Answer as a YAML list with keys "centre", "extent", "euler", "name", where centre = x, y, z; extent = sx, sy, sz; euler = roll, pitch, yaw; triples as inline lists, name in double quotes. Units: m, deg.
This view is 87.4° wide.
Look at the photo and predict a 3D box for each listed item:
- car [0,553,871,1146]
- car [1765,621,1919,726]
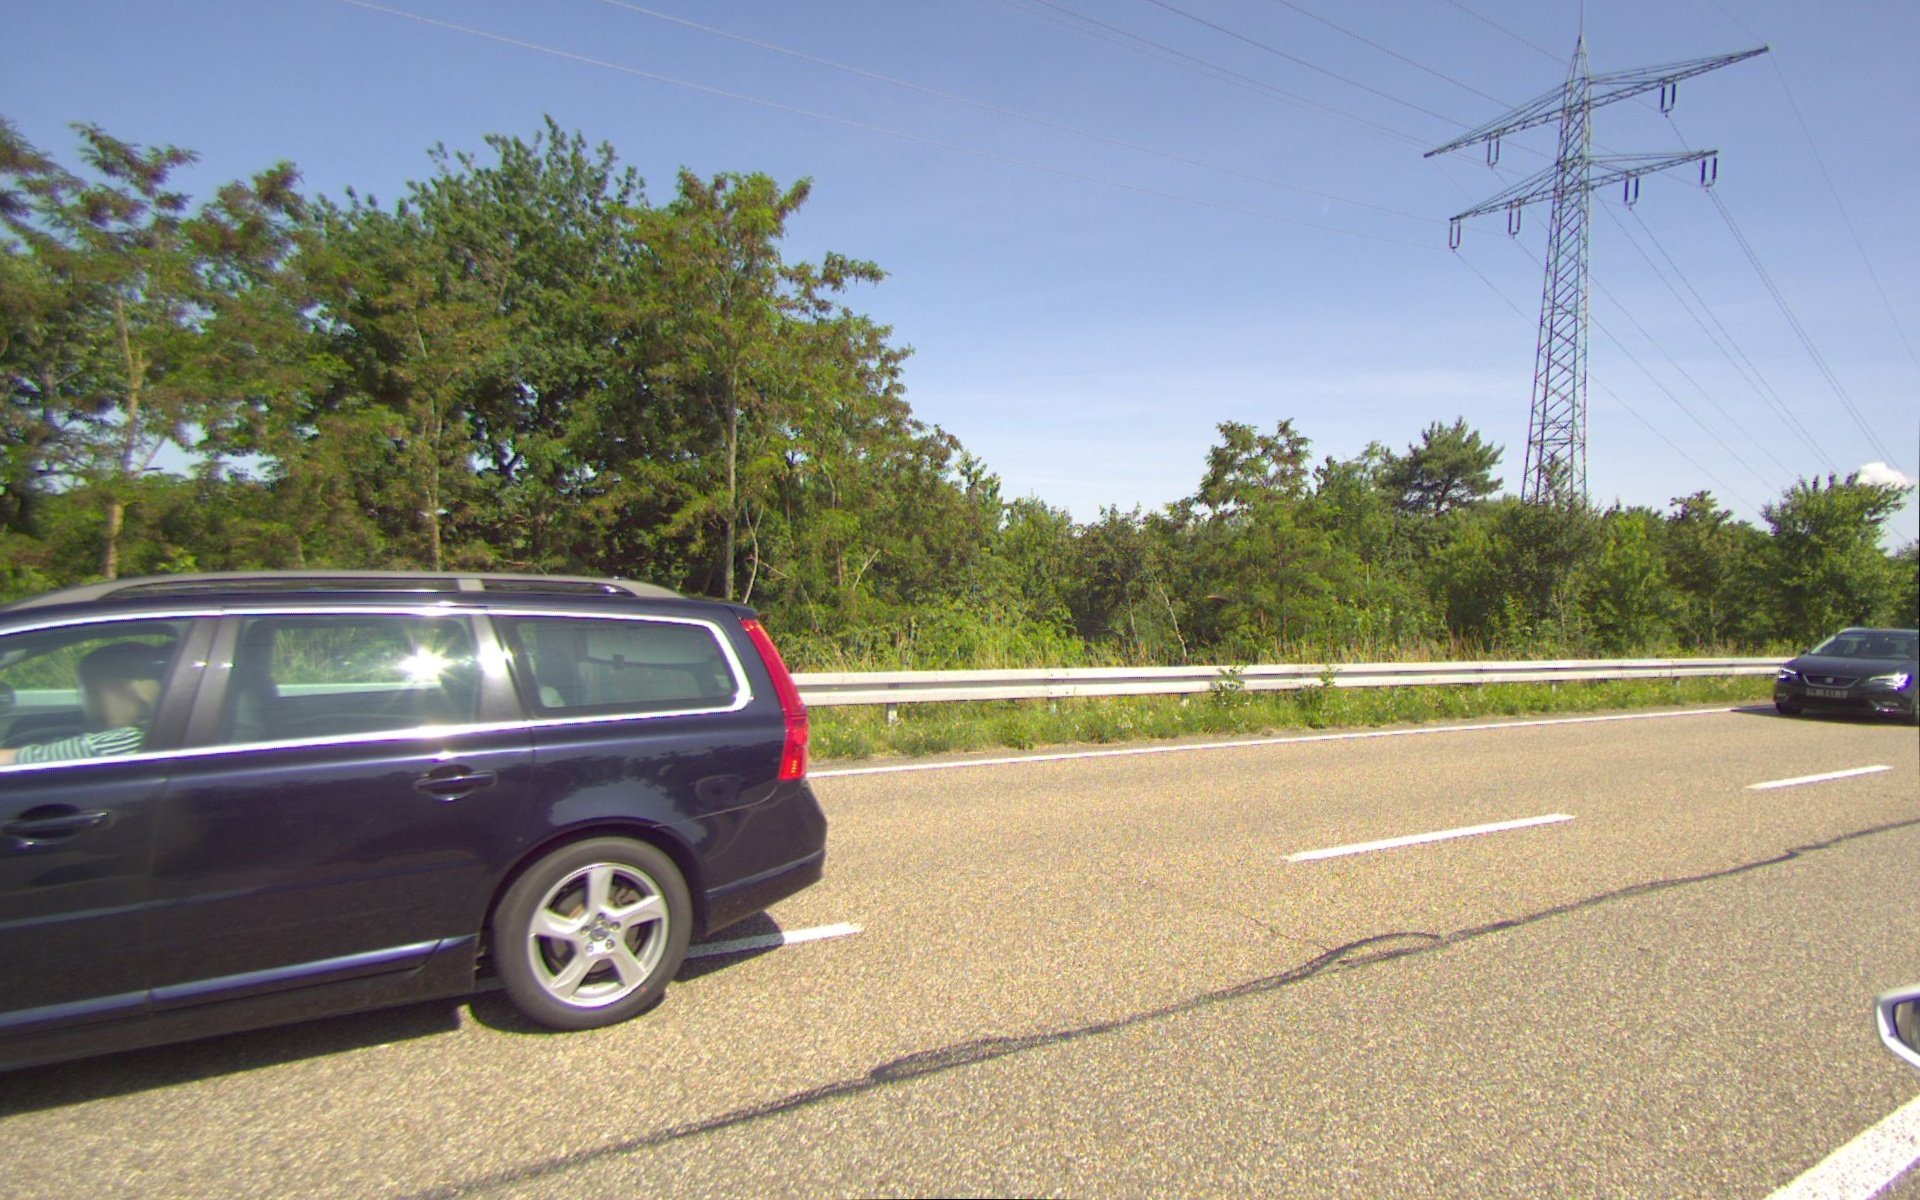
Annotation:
- centre: [-2.651, 0.633, 3.436]
  extent: [4.374, 1.511, 1.718]
  euler: [1, 0, -32]
  name: "car"
- centre: [14.929, 1.111, 16.230]
  extent: [4.166, 1.461, 1.651]
  euler: [1, 0, -31]
  name: "car"
